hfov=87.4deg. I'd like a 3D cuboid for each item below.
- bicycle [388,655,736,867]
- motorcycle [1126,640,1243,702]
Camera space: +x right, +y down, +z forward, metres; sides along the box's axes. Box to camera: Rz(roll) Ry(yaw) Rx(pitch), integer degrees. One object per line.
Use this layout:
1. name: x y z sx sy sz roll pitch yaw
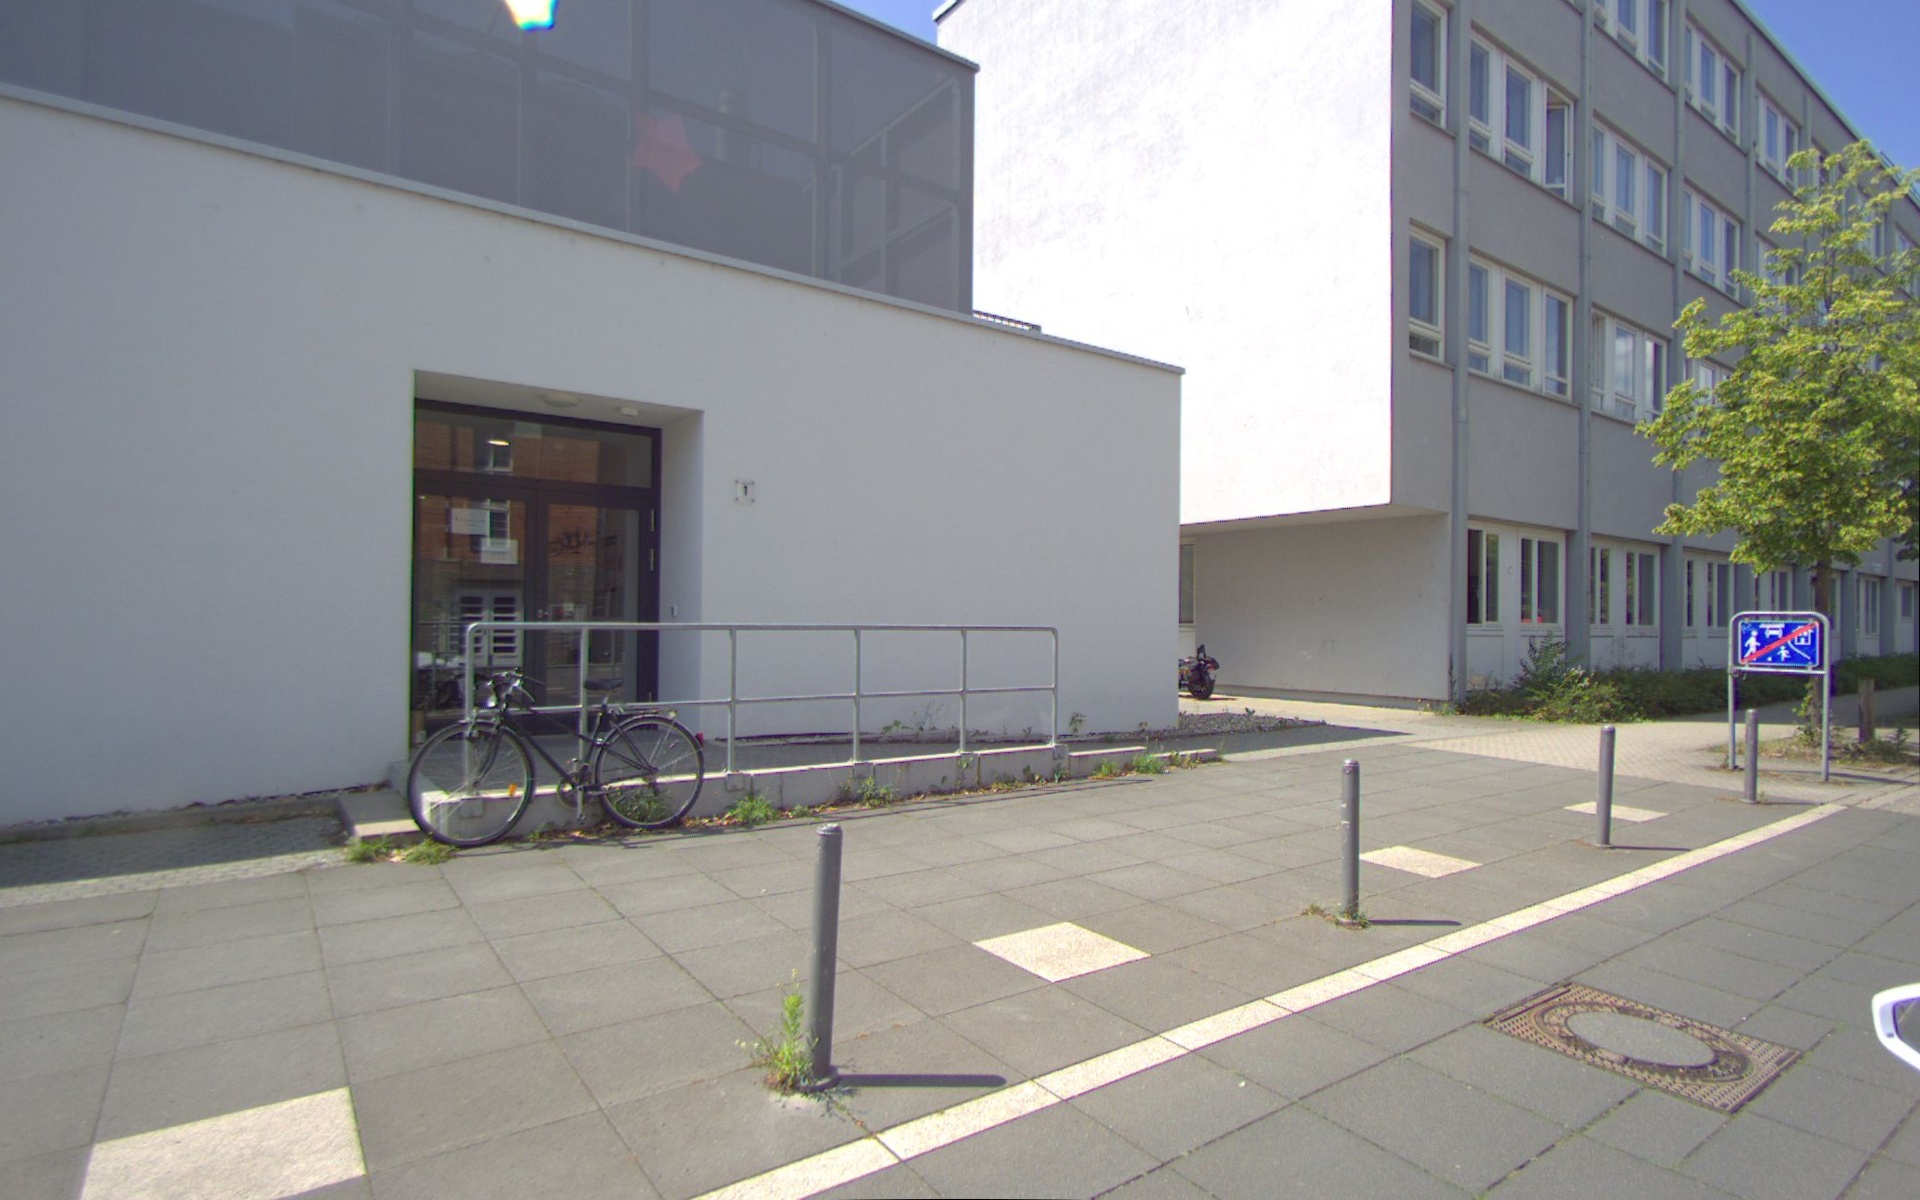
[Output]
1. bicycle: -2.341 0.890 6.026 1.877 1.075 0.540 1 -1 -32
2. motorcycle: 4.205 1.310 19.012 0.873 1.056 2.162 1 -2 -34
